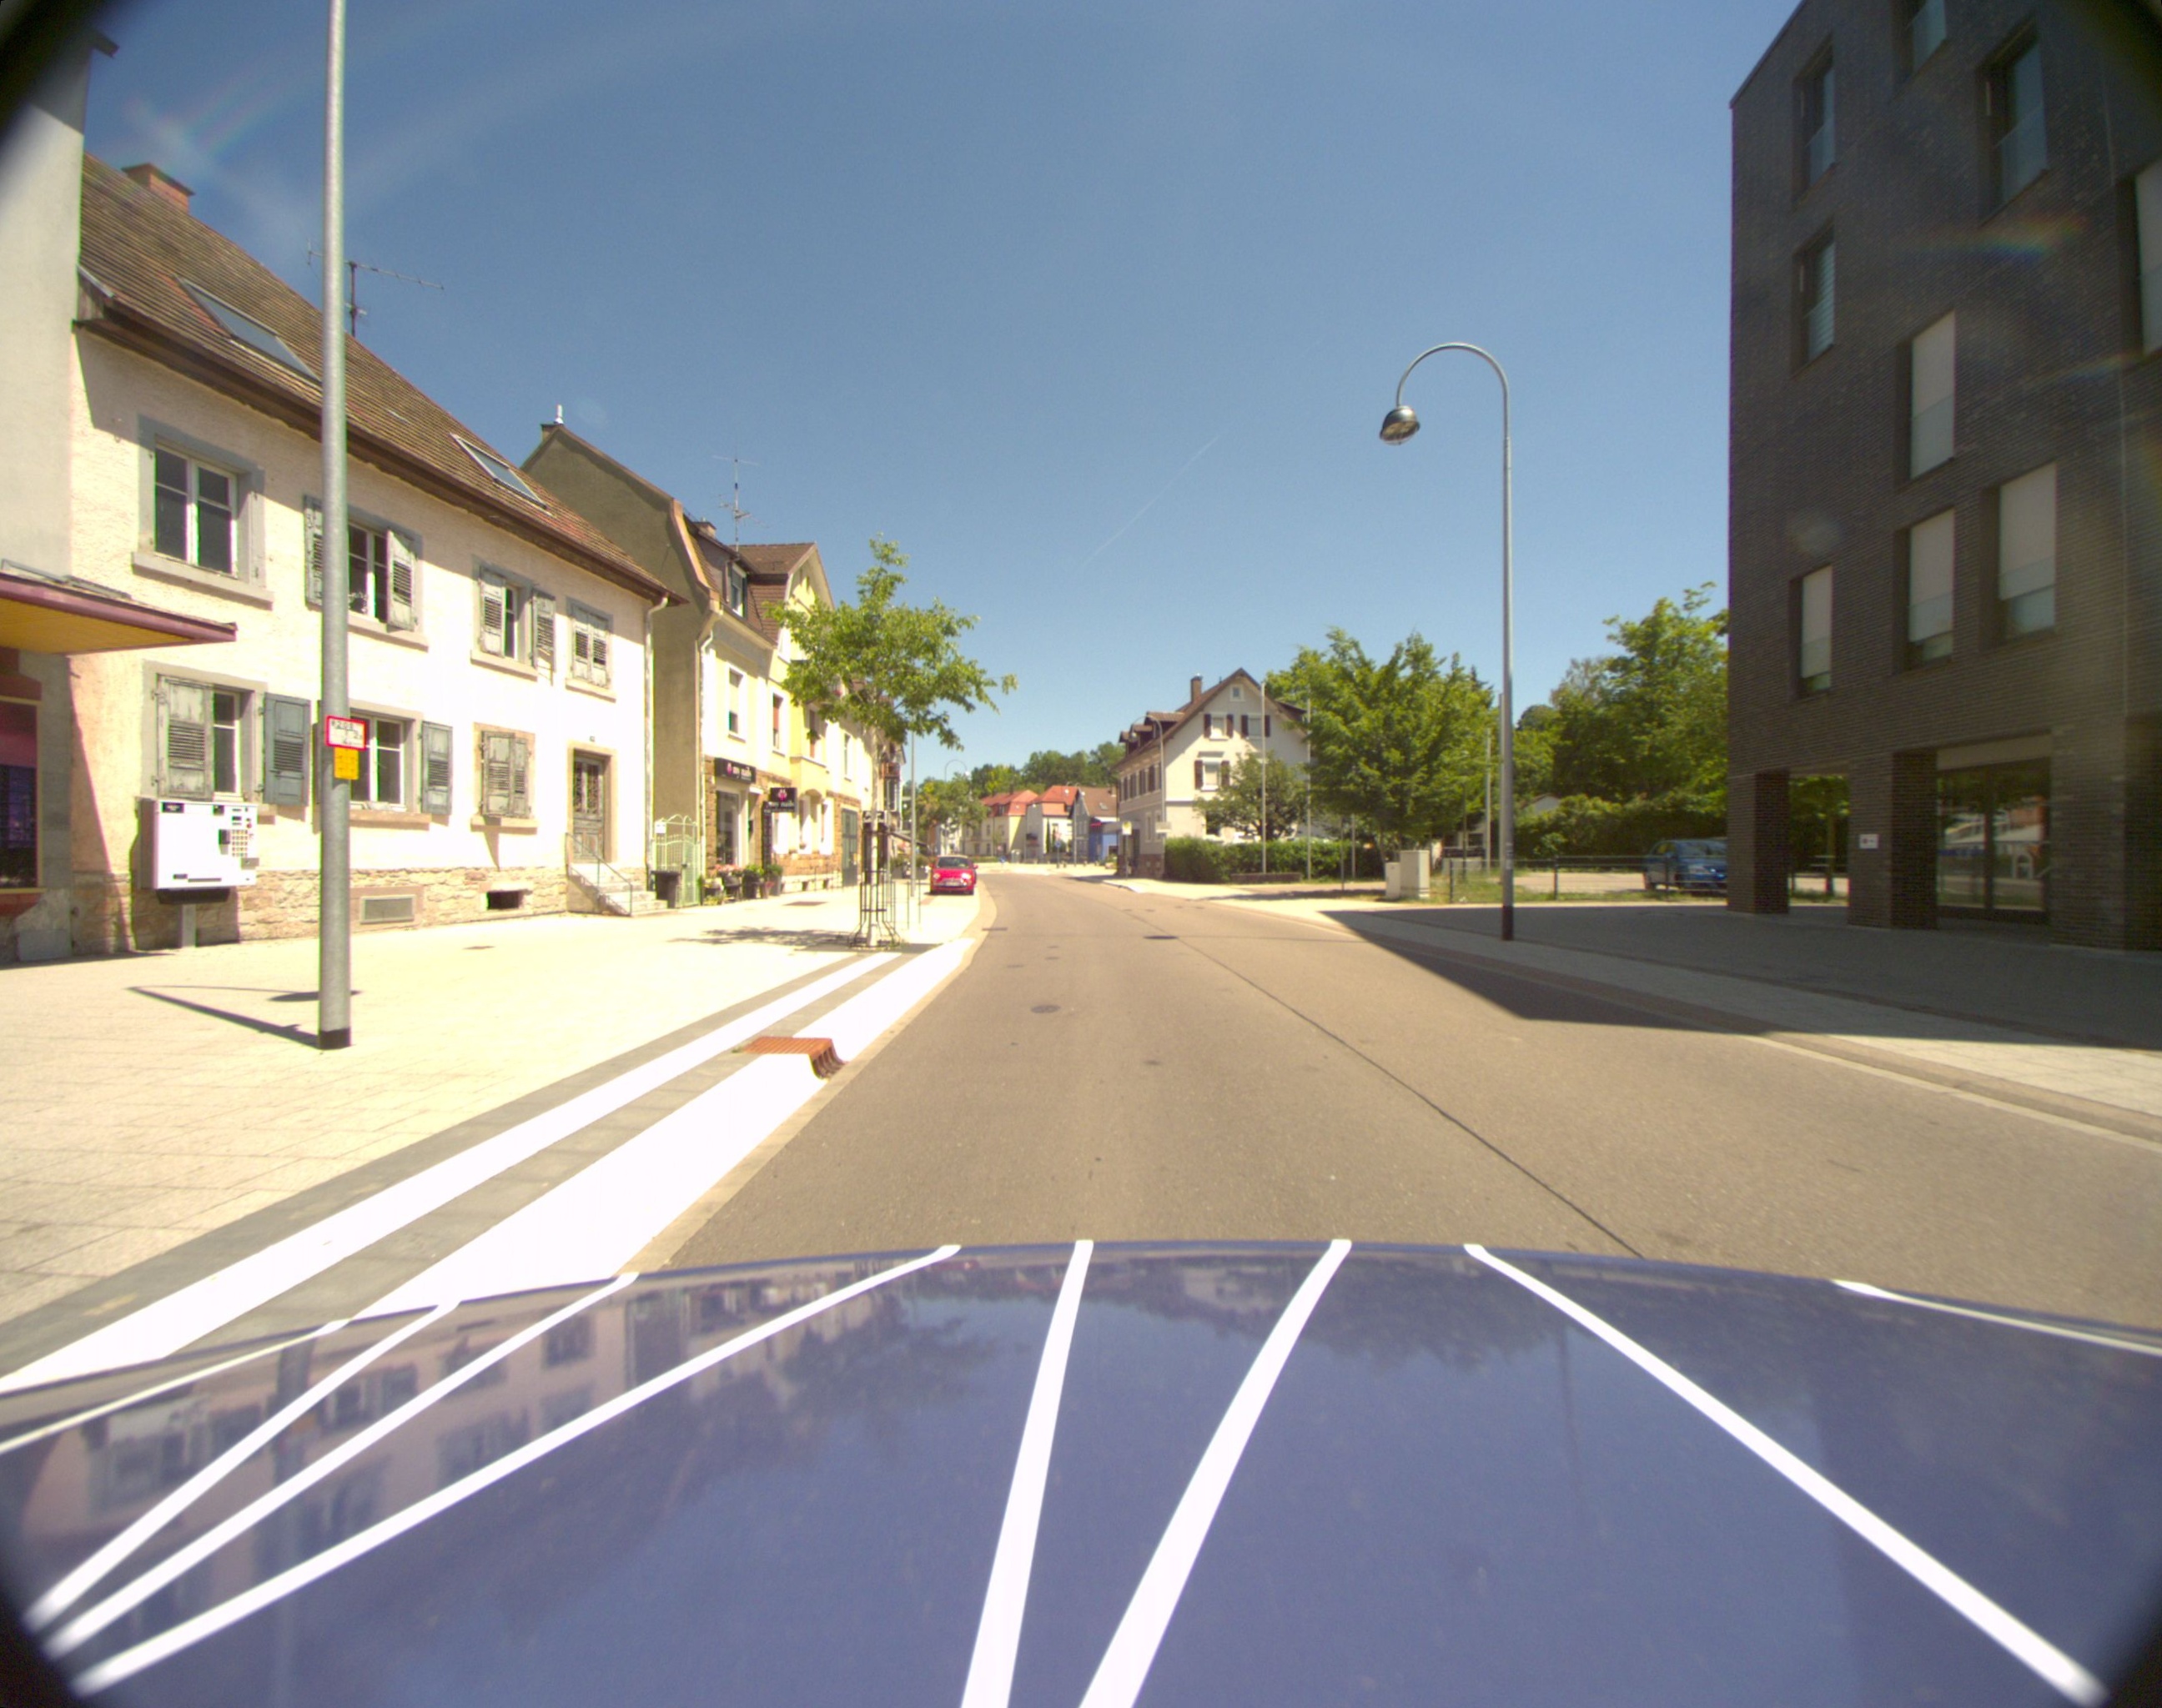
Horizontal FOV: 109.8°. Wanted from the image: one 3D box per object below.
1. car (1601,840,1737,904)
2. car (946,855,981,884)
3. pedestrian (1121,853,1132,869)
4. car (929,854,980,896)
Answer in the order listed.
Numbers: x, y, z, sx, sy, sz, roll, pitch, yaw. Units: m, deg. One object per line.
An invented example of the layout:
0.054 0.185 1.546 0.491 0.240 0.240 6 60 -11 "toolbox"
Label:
15.112 0.401 19.779 1.696 1.477 4.086 0 1 21 "car"
-6.509 0.823 41.817 1.736 1.464 4.319 2 0 -10 "car"
3.065 0.475 50.849 0.598 1.053 0.566 -1 1 -11 "pedestrian"
-4.748 0.752 28.865 1.684 1.505 3.384 1 0 -6 "car"
